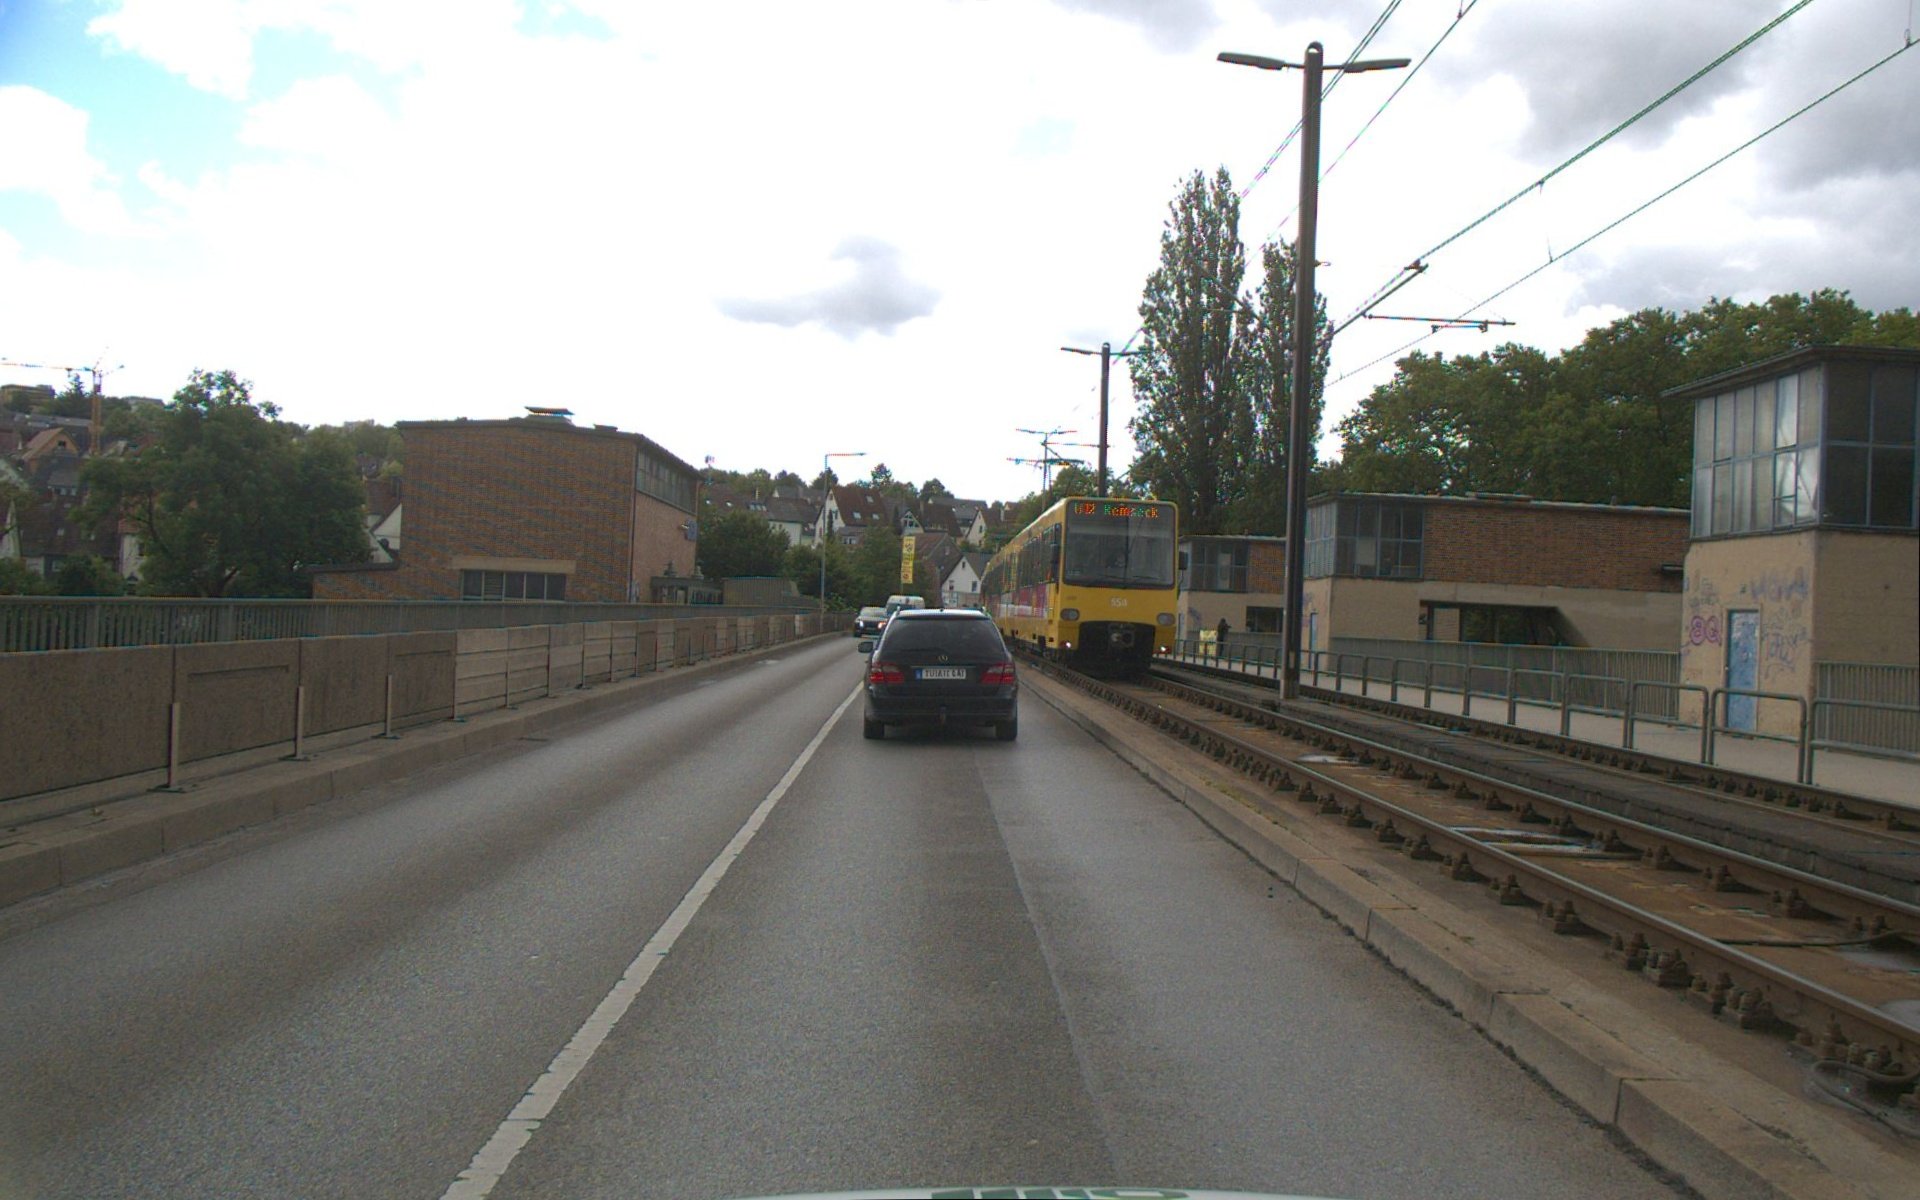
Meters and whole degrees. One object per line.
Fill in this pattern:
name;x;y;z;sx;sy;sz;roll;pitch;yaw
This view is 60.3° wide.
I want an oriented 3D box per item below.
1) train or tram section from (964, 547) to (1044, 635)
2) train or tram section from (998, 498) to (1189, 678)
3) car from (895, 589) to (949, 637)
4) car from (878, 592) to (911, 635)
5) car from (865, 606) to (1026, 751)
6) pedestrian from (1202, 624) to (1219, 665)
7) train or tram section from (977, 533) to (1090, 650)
train or tram section;1.894;-0.311;80.049;2.728;3.720;19.884;0;0;-2
train or tram section;2.874;-0.251;42.161;2.824;3.571;18.660;0;0;-2
car;-1.354;0.438;57.501;1.735;1.582;4.238;1;0;-3
car;-4.217;0.826;107.024;1.992;2.606;7.005;1;0;-1
car;-0.237;0.856;20.079;1.723;1.542;4.440;1;0;-2
pedestrian;10.254;1.813;67.661;0.565;1.638;0.612;1;-1;-1
train or tram section;2.383;-0.277;60.820;2.772;3.643;18.660;0;0;-2
